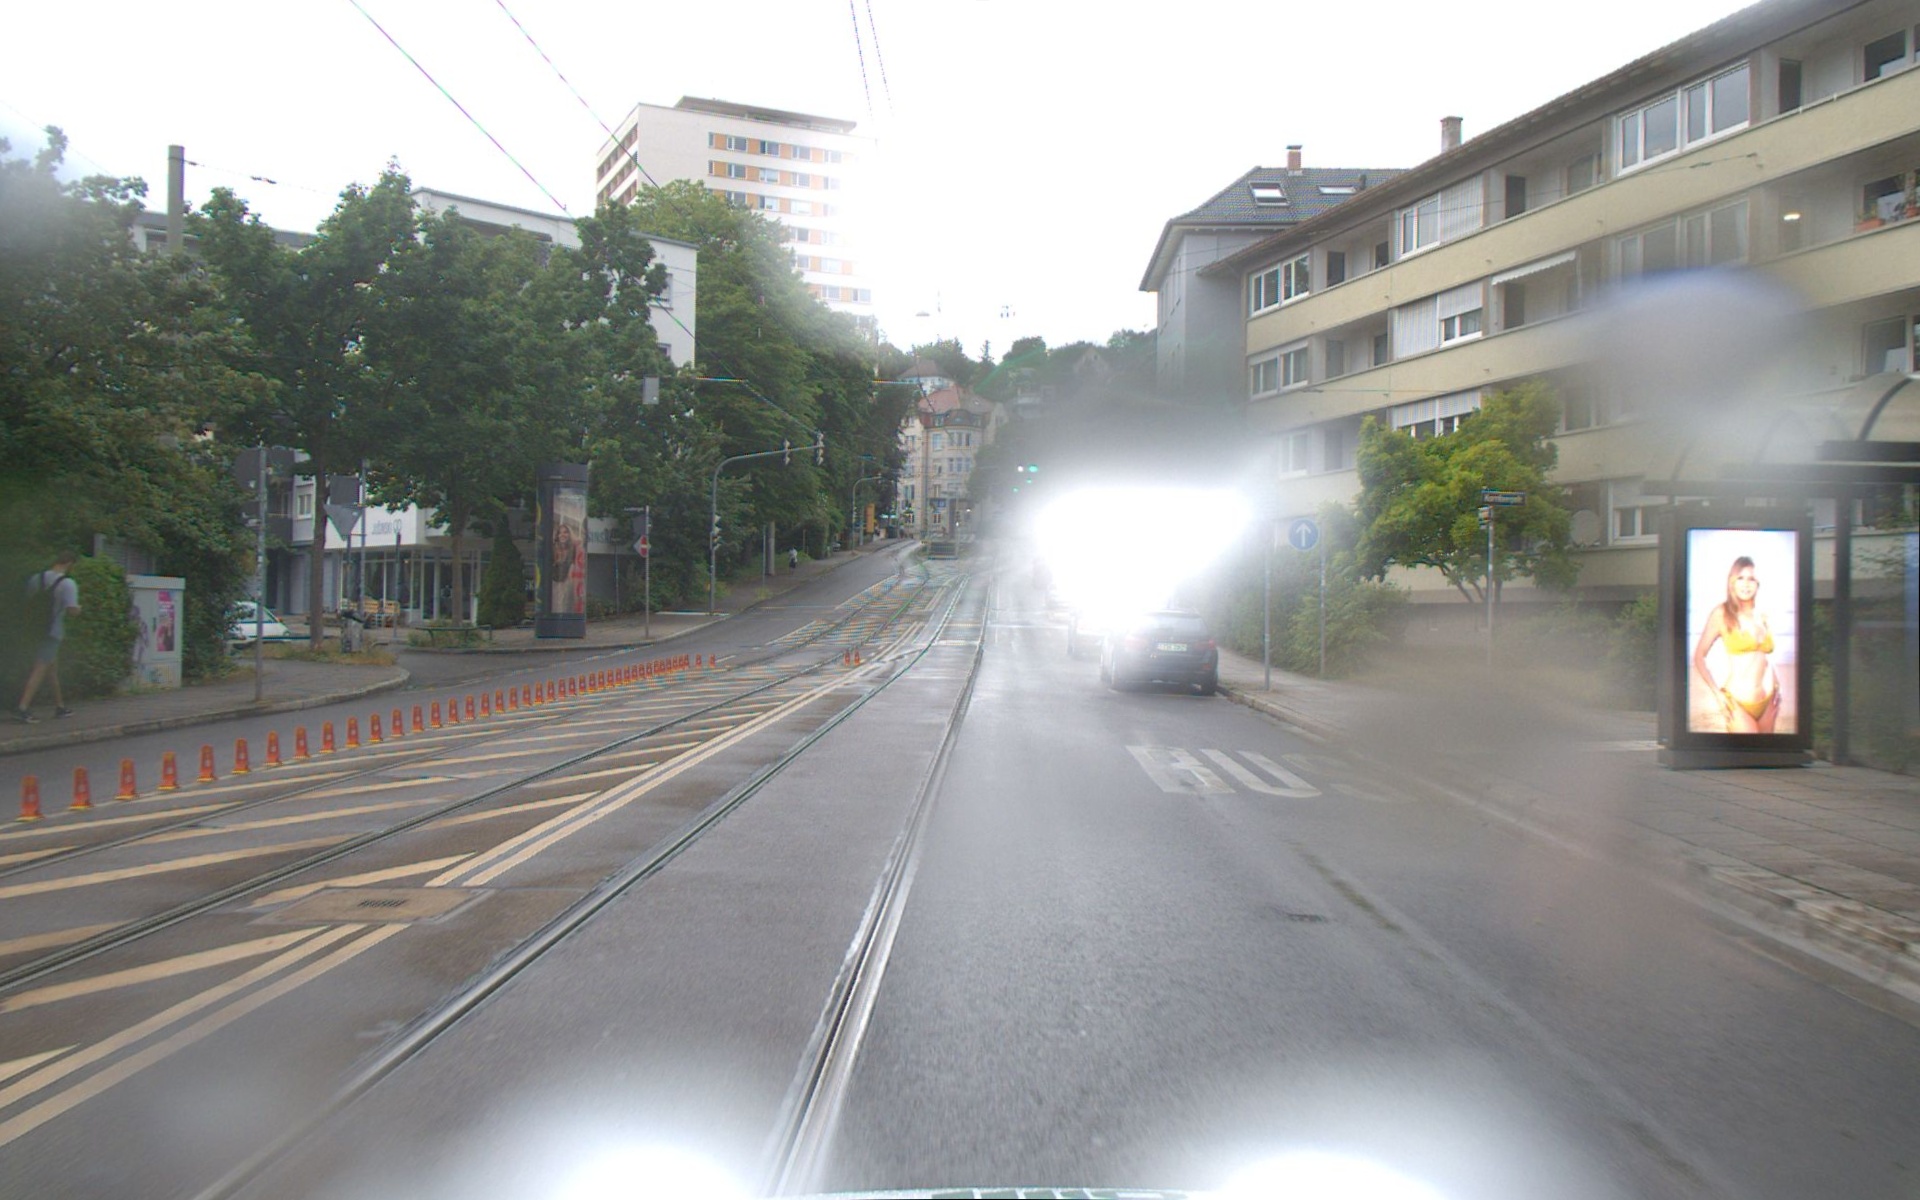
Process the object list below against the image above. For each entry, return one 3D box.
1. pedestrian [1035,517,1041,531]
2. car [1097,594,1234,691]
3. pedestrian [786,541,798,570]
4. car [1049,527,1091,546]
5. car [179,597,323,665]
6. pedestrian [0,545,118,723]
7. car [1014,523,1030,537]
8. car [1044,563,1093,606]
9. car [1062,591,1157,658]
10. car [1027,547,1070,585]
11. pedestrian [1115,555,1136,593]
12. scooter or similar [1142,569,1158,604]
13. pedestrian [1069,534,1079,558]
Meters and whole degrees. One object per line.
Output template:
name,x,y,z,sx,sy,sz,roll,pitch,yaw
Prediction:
pedestrian,8.693,-8.490,185.110,0.567,1.492,0.543,2,-1,-7
car,3.545,0.682,29.348,1.820,1.513,4.645,2,0,0
pedestrian,-9.402,-2.492,92.552,0.571,1.627,0.869,3,2,-2
car,10.501,-6.055,158.548,3.905,1.674,1.808,2,1,1
car,-17.399,0.746,40.505,1.983,1.507,4.095,3,-1,-43
pedestrian,-10.019,0.368,18.225,0.901,1.878,1.016,3,-1,-4
car,7.849,-8.851,208.738,1.867,1.670,4.691,2,3,0
car,4.297,-0.645,65.747,1.670,1.458,4.103,2,3,0
car,3.627,0.562,40.813,1.900,1.489,4.206,2,0,-1
car,4.328,-1.694,81.671,1.867,1.670,4.691,2,3,0
pedestrian,7.242,-1.153,72.416,0.864,1.610,0.802,0,4,3
scooter or similar,7.620,-0.554,66.291,0.562,1.270,1.612,2,5,6
pedestrian,7.980,-3.779,115.684,0.631,1.657,0.700,1,1,3
